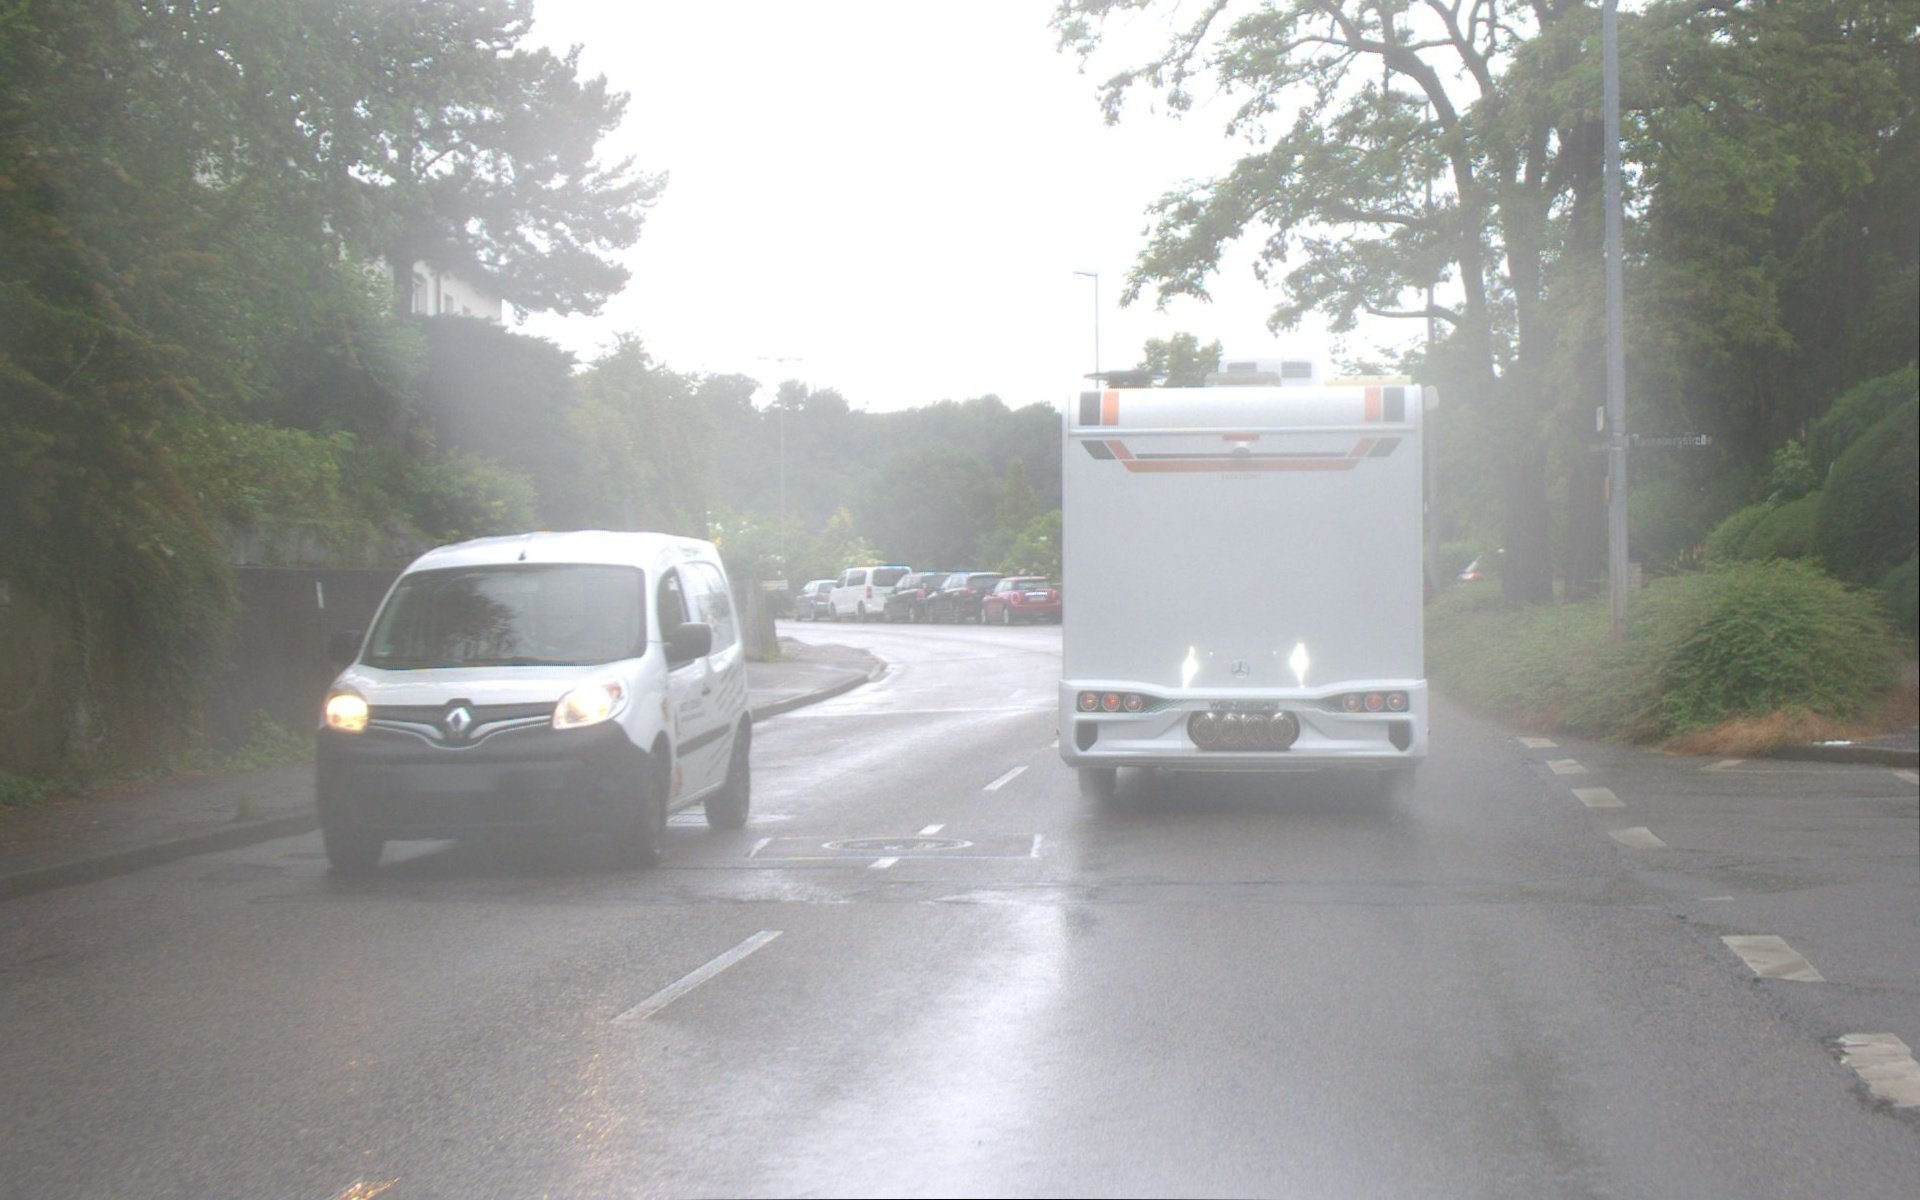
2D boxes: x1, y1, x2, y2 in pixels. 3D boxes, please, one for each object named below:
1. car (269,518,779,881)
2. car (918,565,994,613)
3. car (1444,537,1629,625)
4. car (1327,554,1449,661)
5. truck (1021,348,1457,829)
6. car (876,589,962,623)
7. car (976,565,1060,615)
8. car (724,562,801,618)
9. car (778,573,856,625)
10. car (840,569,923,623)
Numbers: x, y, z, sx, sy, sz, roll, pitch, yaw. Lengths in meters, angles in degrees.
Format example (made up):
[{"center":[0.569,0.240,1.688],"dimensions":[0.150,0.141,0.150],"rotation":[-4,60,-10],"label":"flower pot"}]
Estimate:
[{"center":[-2.262,0.478,19.073],"dimensions":[1.840,1.749,4.419],"rotation":[1,0,6],"label":"car"},{"center":[-0.140,-0.342,107.968],"dimensions":[1.539,1.322,4.001],"rotation":[3,-2,-12],"label":"car"},{"center":[12.321,-0.398,73.608],"dimensions":[3.624,1.658,2.000],"rotation":[2,-2,2],"label":"car"},{"center":[7.451,0.158,60.075],"dimensions":[1.994,1.634,3.998],"rotation":[2,-2,6],"label":"car"},{"center":[2.015,0.042,23.833],"dimensions":[2.516,2.808,6.199],"rotation":[2,-2,6],"label":"truck"},{"center":[-1.372,0.189,113.800],"dimensions":[1.645,1.097,4.001],"rotation":[-1,0,-20],"label":"car"},{"center":[1.711,-0.295,103.304],"dimensions":[1.539,1.322,3.865],"rotation":[3,-2,-14],"label":"car"},{"center":[-7.815,-0.375,135.875],"dimensions":[1.739,2.037,4.515],"rotation":[3,-2,-20],"label":"car"},{"center":[-5.187,-0.030,124.605],"dimensions":[1.645,1.715,4.001],"rotation":[3,-2,-20],"label":"car"},{"center":[-2.730,-0.127,118.926],"dimensions":[1.645,1.715,4.001],"rotation":[3,-2,-20],"label":"car"}]
